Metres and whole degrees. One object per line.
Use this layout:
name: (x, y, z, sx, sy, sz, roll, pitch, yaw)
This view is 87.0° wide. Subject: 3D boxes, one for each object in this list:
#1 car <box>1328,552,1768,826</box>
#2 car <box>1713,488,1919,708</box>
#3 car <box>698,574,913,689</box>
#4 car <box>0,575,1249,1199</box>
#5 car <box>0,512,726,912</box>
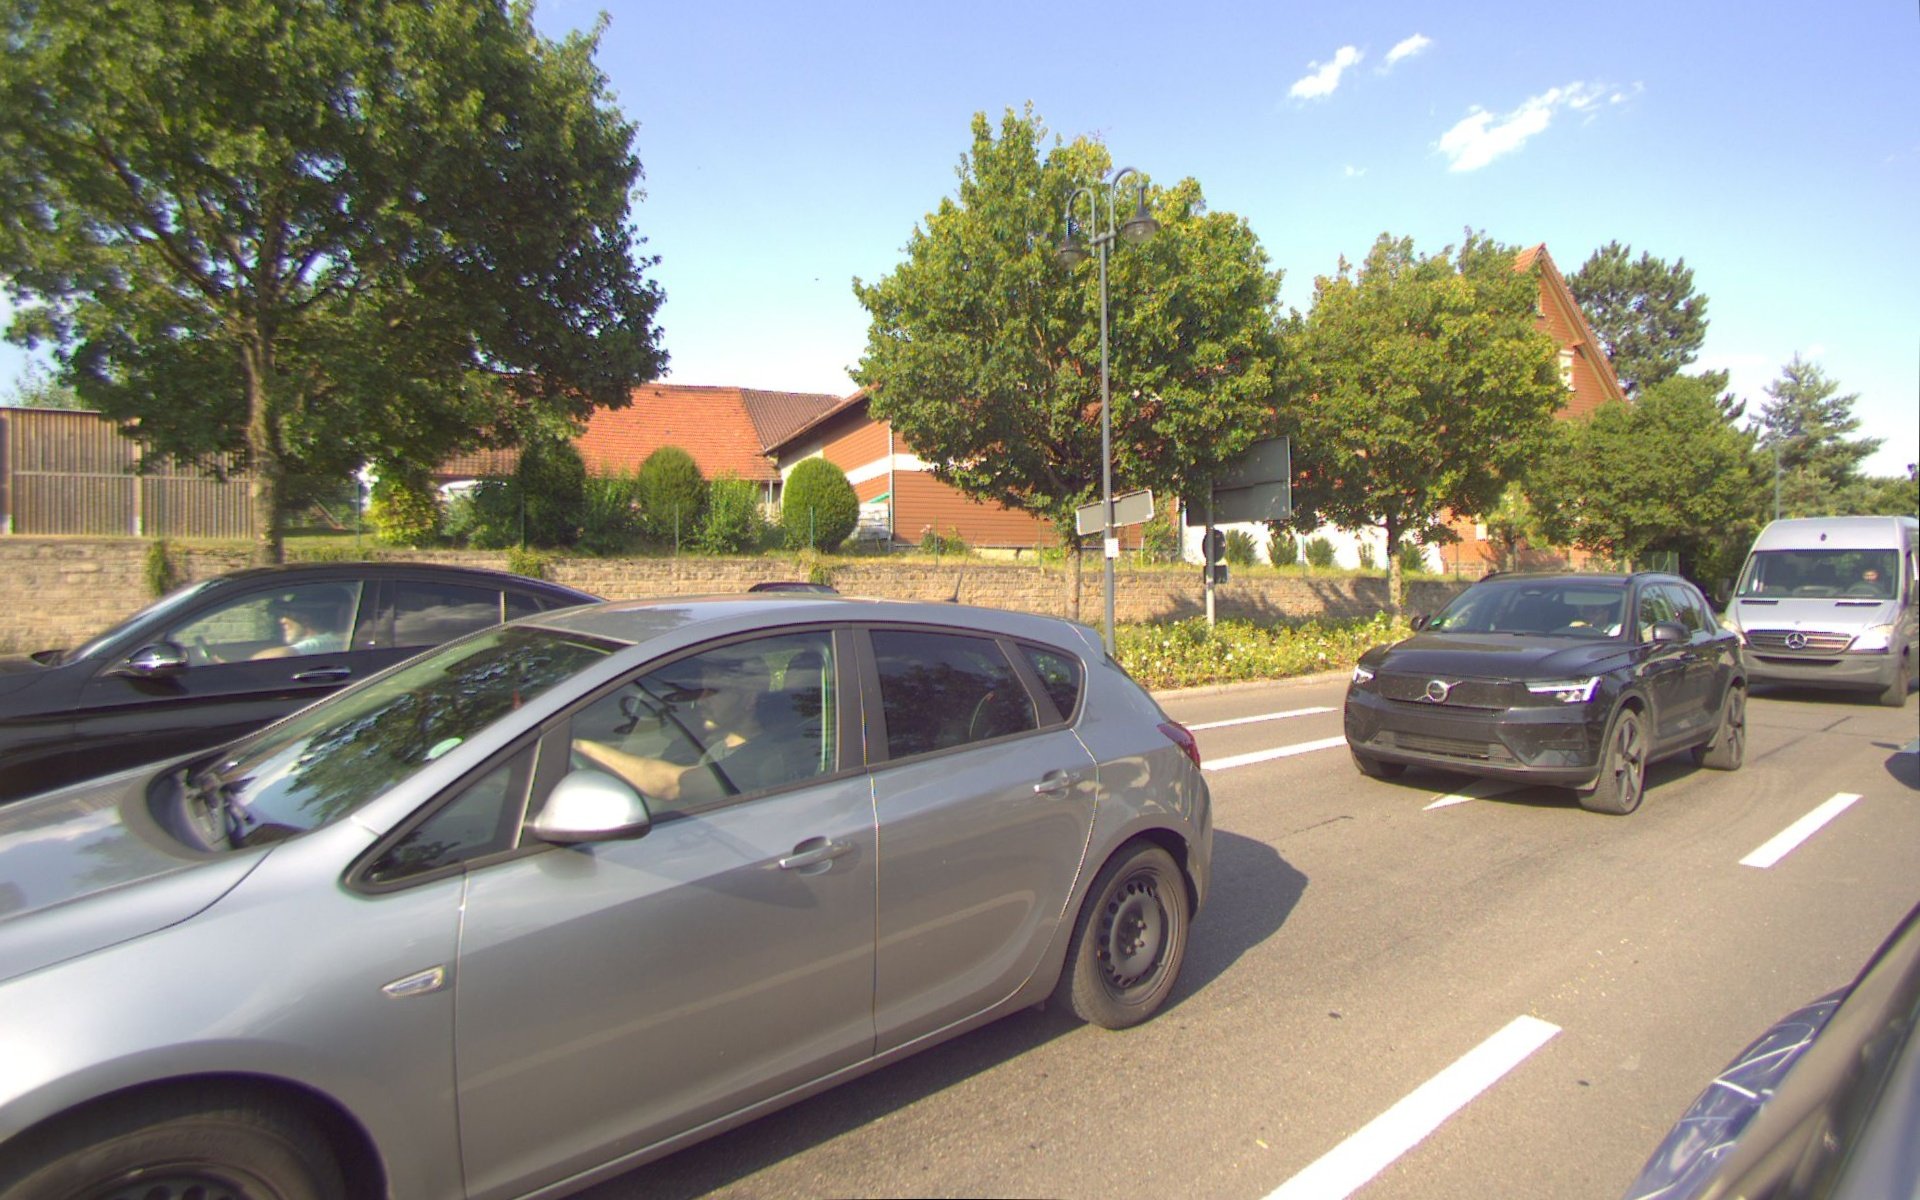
car: (4.766, 0.498, 7.981, 3.985, 1.625, 1.791, -1, 1, -40)
car: (13.557, -0.063, 15.330, 6.532, 2.691, 2.038, -1, 0, -40)
car: (-2.415, 0.373, 14.964, 1.714, 1.449, 4.003, 0, 1, -32)
car: (-0.995, 0.668, 3.026, 4.072, 1.440, 1.650, -1, 2, -42)
car: (-3.674, 0.434, 5.493, 1.839, 1.586, 4.424, 0, 0, 44)
